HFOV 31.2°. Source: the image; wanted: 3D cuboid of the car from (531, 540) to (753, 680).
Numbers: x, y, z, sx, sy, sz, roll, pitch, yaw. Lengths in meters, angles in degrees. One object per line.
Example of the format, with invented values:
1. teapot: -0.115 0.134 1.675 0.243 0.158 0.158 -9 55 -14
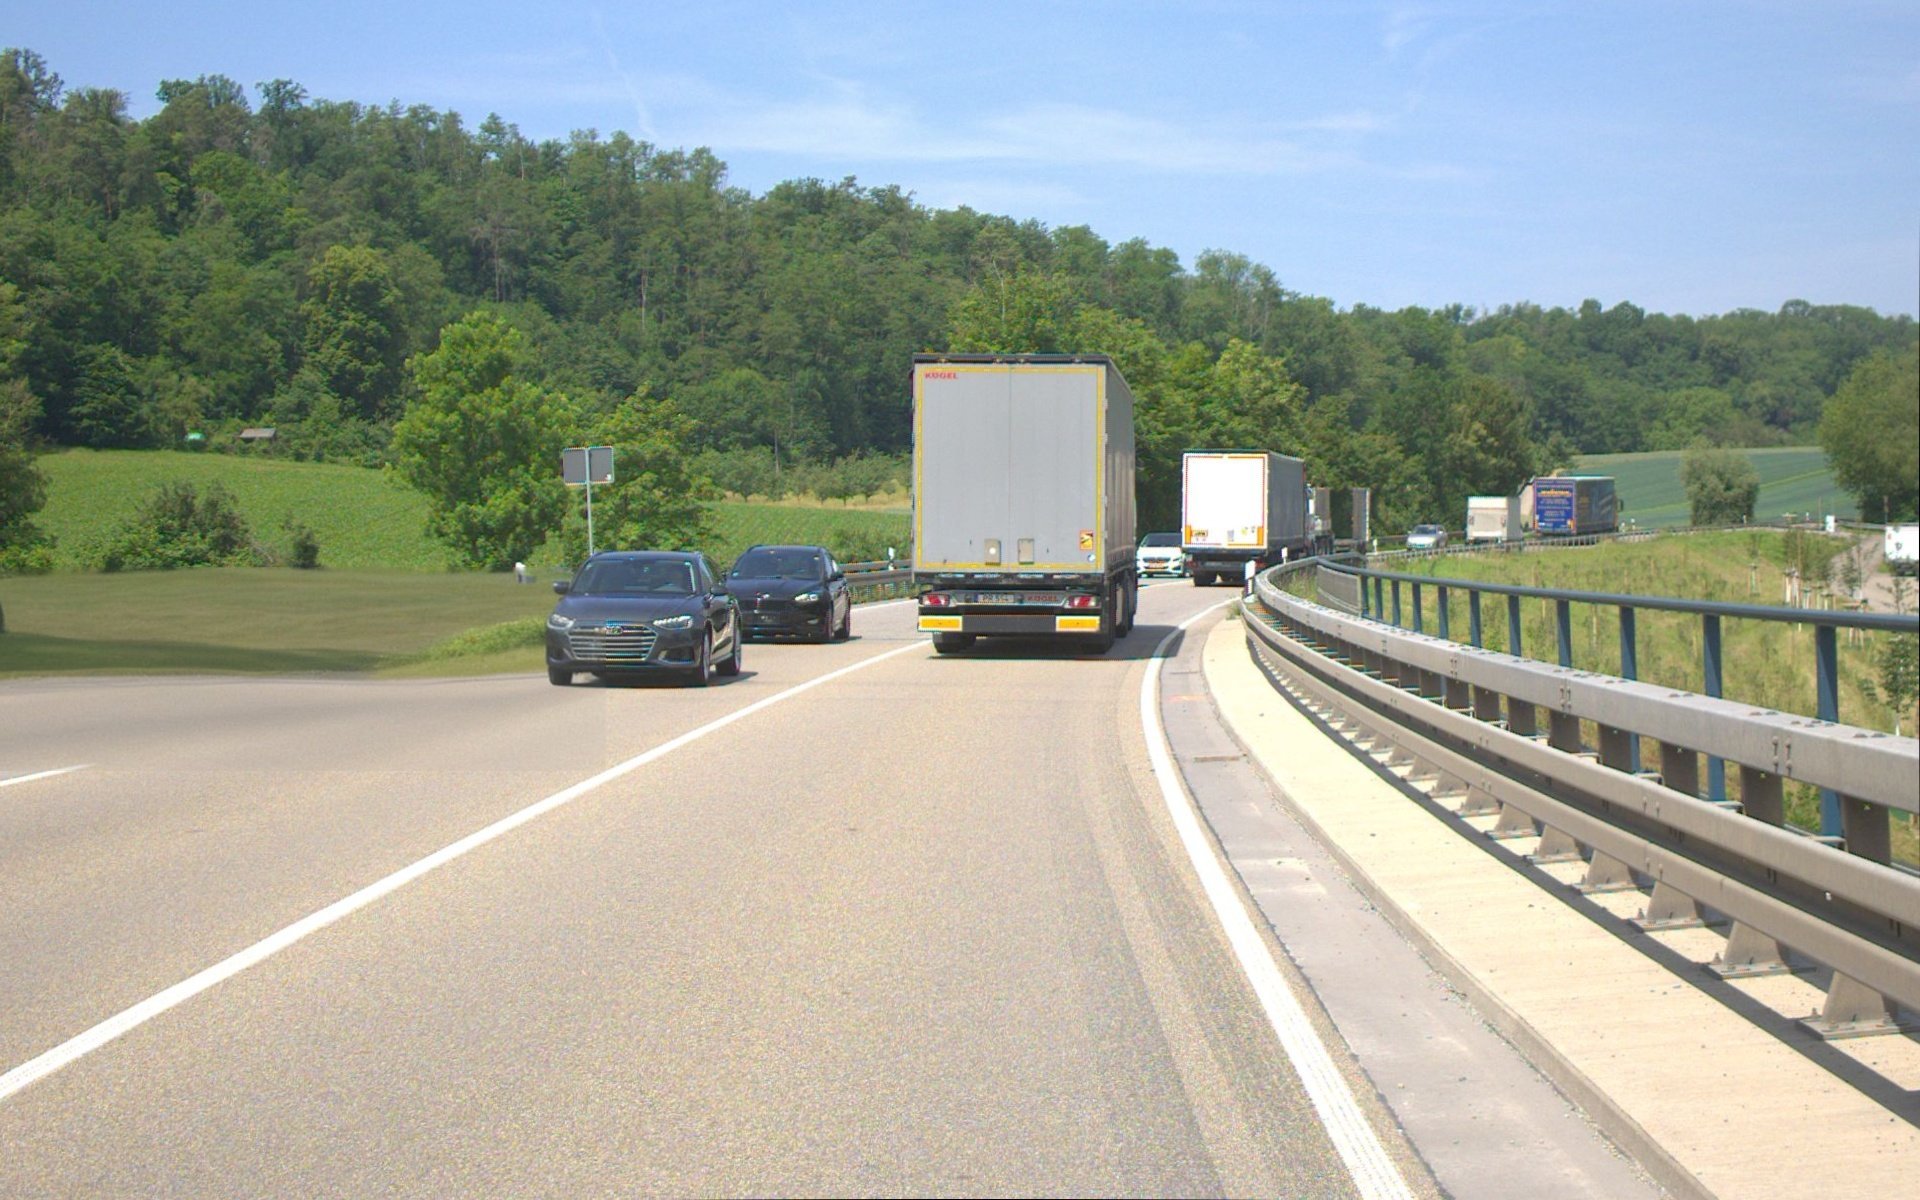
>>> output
1. car: -3.433 0.058 37.894 1.721 1.430 4.617 1 1 4

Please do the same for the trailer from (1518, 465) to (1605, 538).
1. trailer: 36.604 -5.940 208.782 3.651 4.248 12.185 1 1 17

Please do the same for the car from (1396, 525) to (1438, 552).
1. car: 24.893 -3.354 187.257 1.769 1.489 4.167 1 1 15

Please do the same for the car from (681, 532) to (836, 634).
1. car: -3.059 -0.297 52.986 1.721 1.477 4.569 1 1 5

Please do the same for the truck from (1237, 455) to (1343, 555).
1. truck: 14.629 -4.131 151.520 3.063 4.248 9.861 0 1 15

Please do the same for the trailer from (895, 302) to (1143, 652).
1. trailer: 1.124 -1.801 51.253 3.118 4.484 13.886 0 2 3

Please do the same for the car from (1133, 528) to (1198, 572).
1. car: 7.204 -1.737 120.182 1.758 1.506 3.998 1 0 11

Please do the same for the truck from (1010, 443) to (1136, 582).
1. truck: 3.330 -2.516 98.658 2.915 3.790 9.707 0 2 6

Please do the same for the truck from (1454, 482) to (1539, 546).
1. truck: 29.320 -4.626 187.522 3.225 3.354 11.866 1 1 16

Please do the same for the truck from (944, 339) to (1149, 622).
1. truck: 1.557 -1.987 58.070 3.119 4.479 6.810 0 1 4

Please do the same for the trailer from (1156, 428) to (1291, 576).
1. trailer: 8.365 -2.959 107.459 3.366 4.302 13.860 0 1 8
